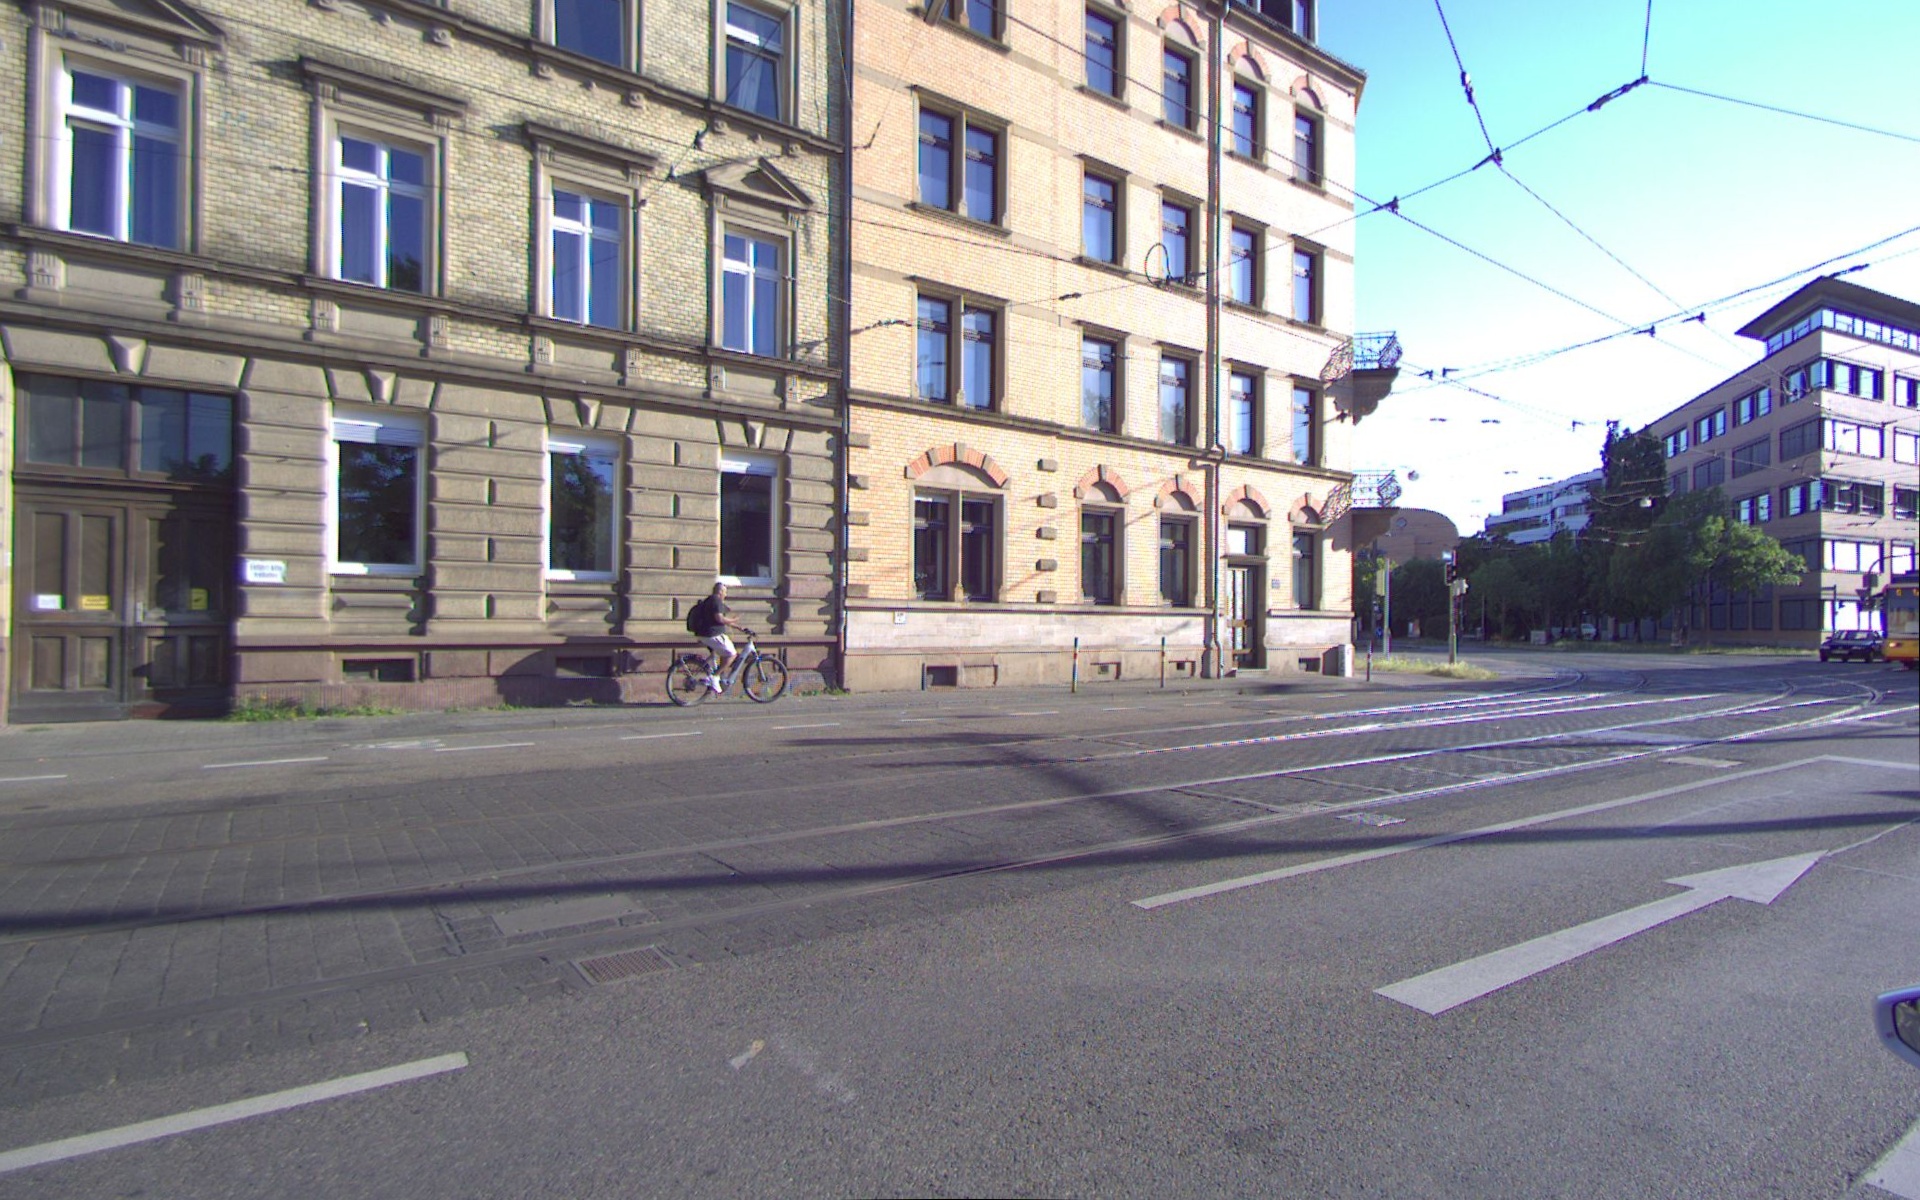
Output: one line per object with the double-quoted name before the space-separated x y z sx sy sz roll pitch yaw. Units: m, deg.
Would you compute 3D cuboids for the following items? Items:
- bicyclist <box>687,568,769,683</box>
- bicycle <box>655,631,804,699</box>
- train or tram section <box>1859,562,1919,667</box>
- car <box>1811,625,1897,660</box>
"bicyclist" -3.437 0.381 14.915 1.025 1.634 0.631 1 -1 -34
"bicycle" -3.405 0.937 14.924 2.066 0.952 0.643 1 -1 -34
"train or tram section" 37.519 0.624 37.812 12.888 3.554 2.841 1 -1 -36
"car" 37.325 1.761 41.914 4.121 1.398 1.797 1 -2 -35
